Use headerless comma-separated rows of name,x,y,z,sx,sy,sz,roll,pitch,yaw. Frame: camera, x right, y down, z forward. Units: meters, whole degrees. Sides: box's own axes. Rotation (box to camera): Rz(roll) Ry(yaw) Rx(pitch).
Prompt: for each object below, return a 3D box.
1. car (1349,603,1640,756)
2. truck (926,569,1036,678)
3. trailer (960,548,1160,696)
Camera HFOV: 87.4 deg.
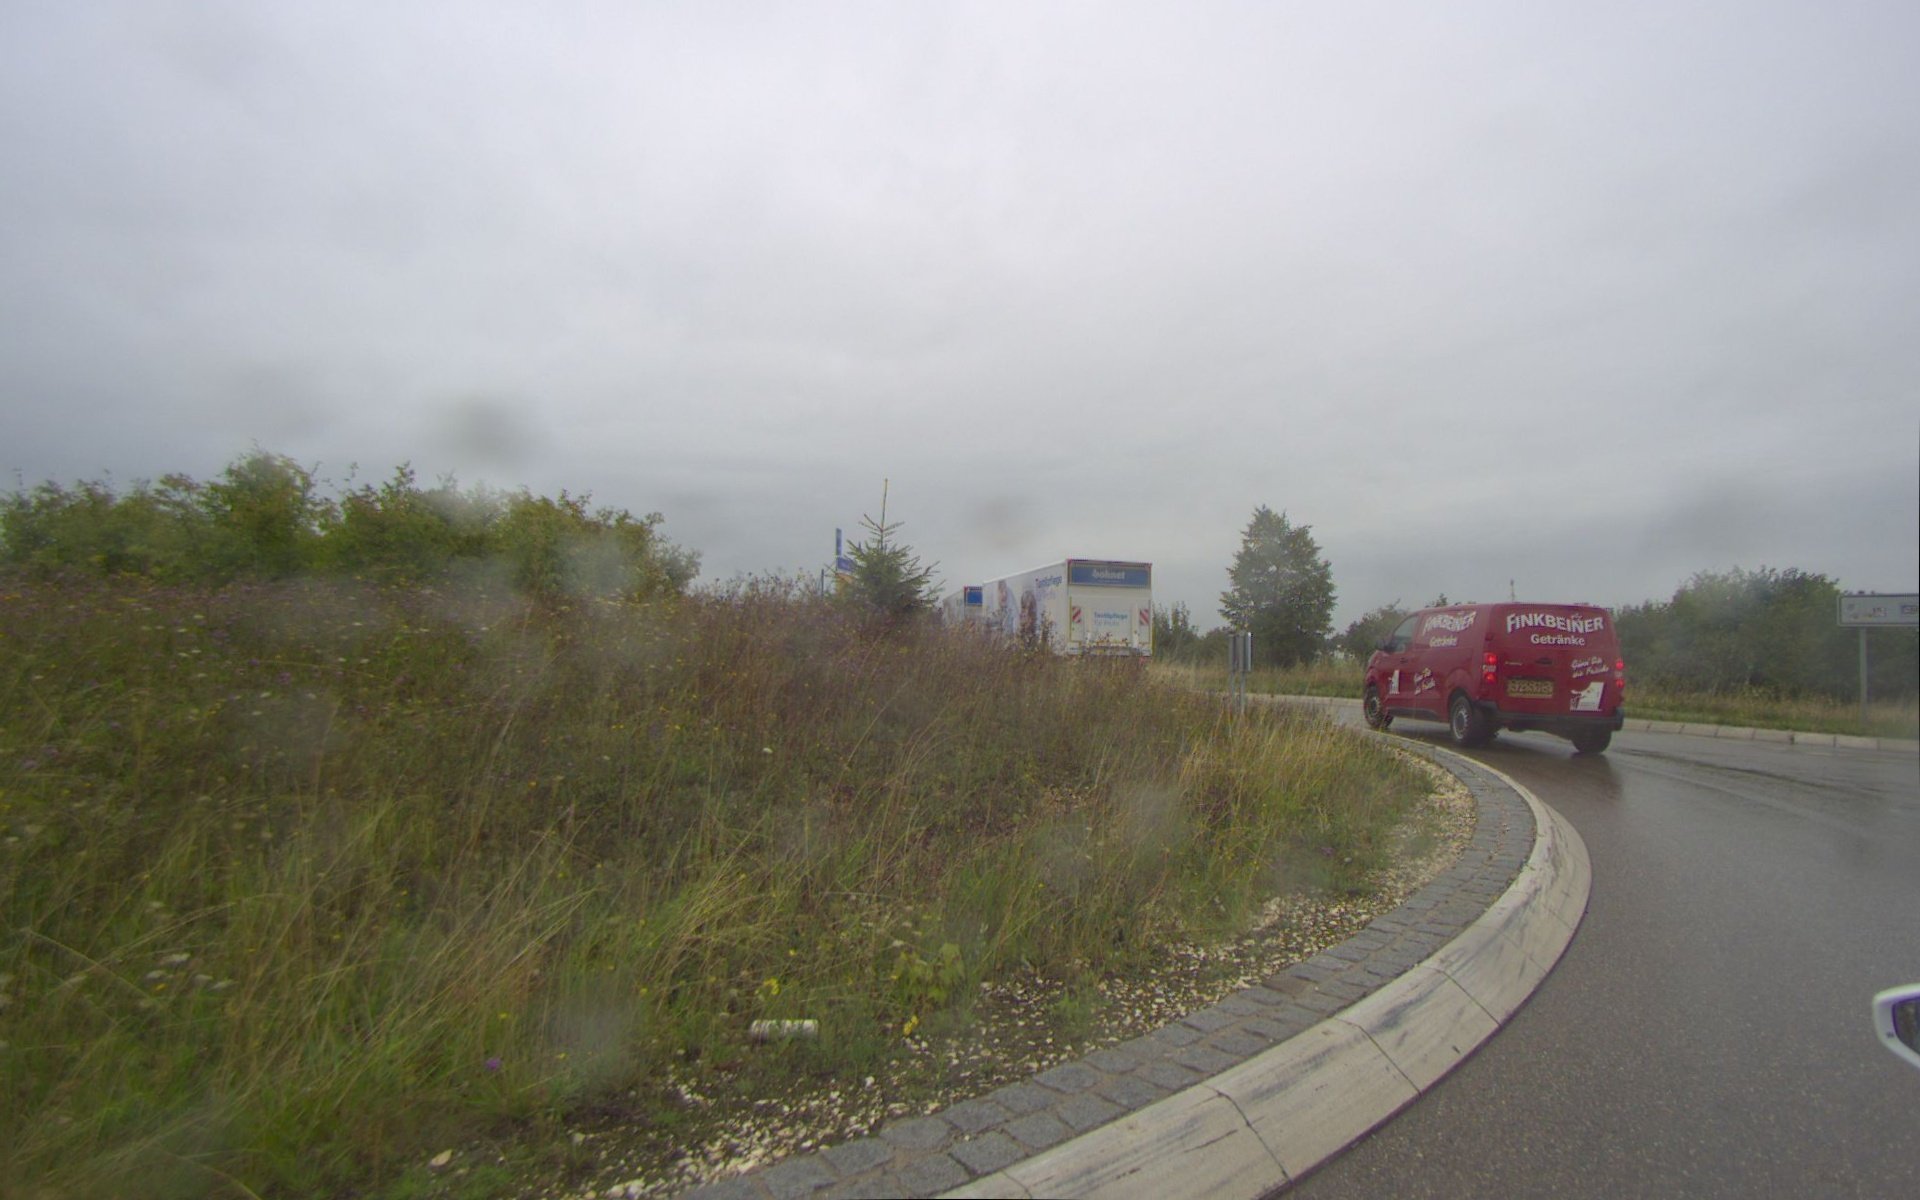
car,7.597,1.045,14.976,1.960,1.895,4.981,0,-1,4
truck,0.641,0.967,39.659,2.759,3.869,7.674,1,-2,-11
trailer,2.710,0.752,31.309,2.795,3.869,9.682,1,-2,-16
